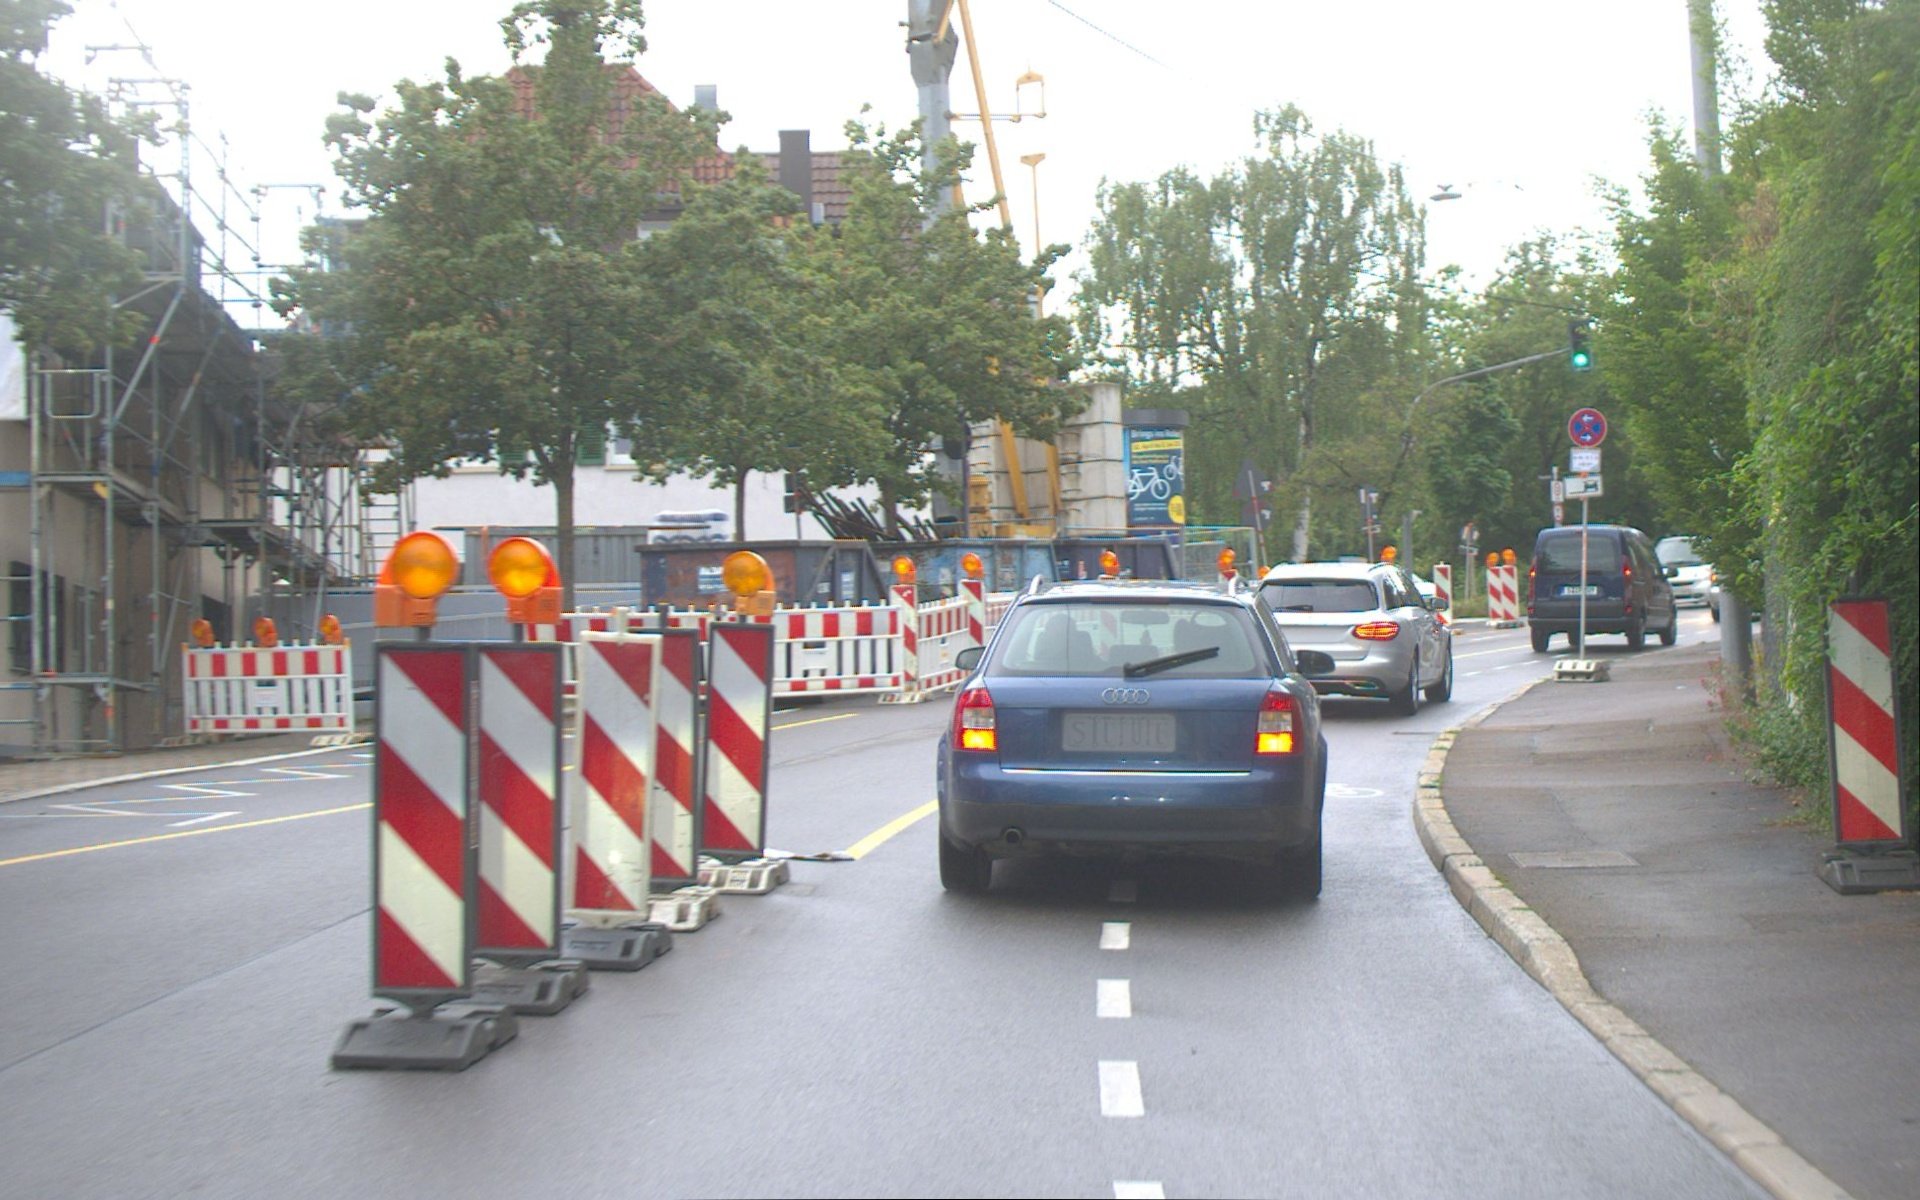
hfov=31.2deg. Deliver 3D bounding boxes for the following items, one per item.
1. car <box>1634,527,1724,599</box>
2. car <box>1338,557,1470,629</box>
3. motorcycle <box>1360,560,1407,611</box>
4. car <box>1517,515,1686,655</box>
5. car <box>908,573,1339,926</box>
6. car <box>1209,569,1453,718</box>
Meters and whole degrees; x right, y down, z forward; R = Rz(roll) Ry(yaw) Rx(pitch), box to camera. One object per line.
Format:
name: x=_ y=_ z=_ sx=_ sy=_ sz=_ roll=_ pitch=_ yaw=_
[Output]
car: x=15.570 y=-0.812 z=74.379 sx=1.457 sy=1.521 sz=2.920 roll=0 pitch=1 yaw=21
car: x=11.358 y=-0.161 z=88.222 sx=1.683 sy=1.504 sz=4.012 roll=-5 pitch=-2 yaw=-18
motorcycle: x=9.935 y=-0.343 z=80.630 sx=0.591 sy=1.127 sz=1.841 roll=-4 pitch=0 yaw=22
car: x=9.641 y=-0.259 z=51.439 sx=1.732 sy=1.888 sz=4.051 roll=-4 pitch=0 yaw=20
car: x=0.785 y=0.633 z=16.500 sx=1.777 sy=1.434 sz=4.000 roll=2 pitch=0 yaw=3
car: x=3.764 y=0.384 z=34.239 sx=1.910 sy=1.384 sz=4.348 roll=0 pitch=0 yaw=13
